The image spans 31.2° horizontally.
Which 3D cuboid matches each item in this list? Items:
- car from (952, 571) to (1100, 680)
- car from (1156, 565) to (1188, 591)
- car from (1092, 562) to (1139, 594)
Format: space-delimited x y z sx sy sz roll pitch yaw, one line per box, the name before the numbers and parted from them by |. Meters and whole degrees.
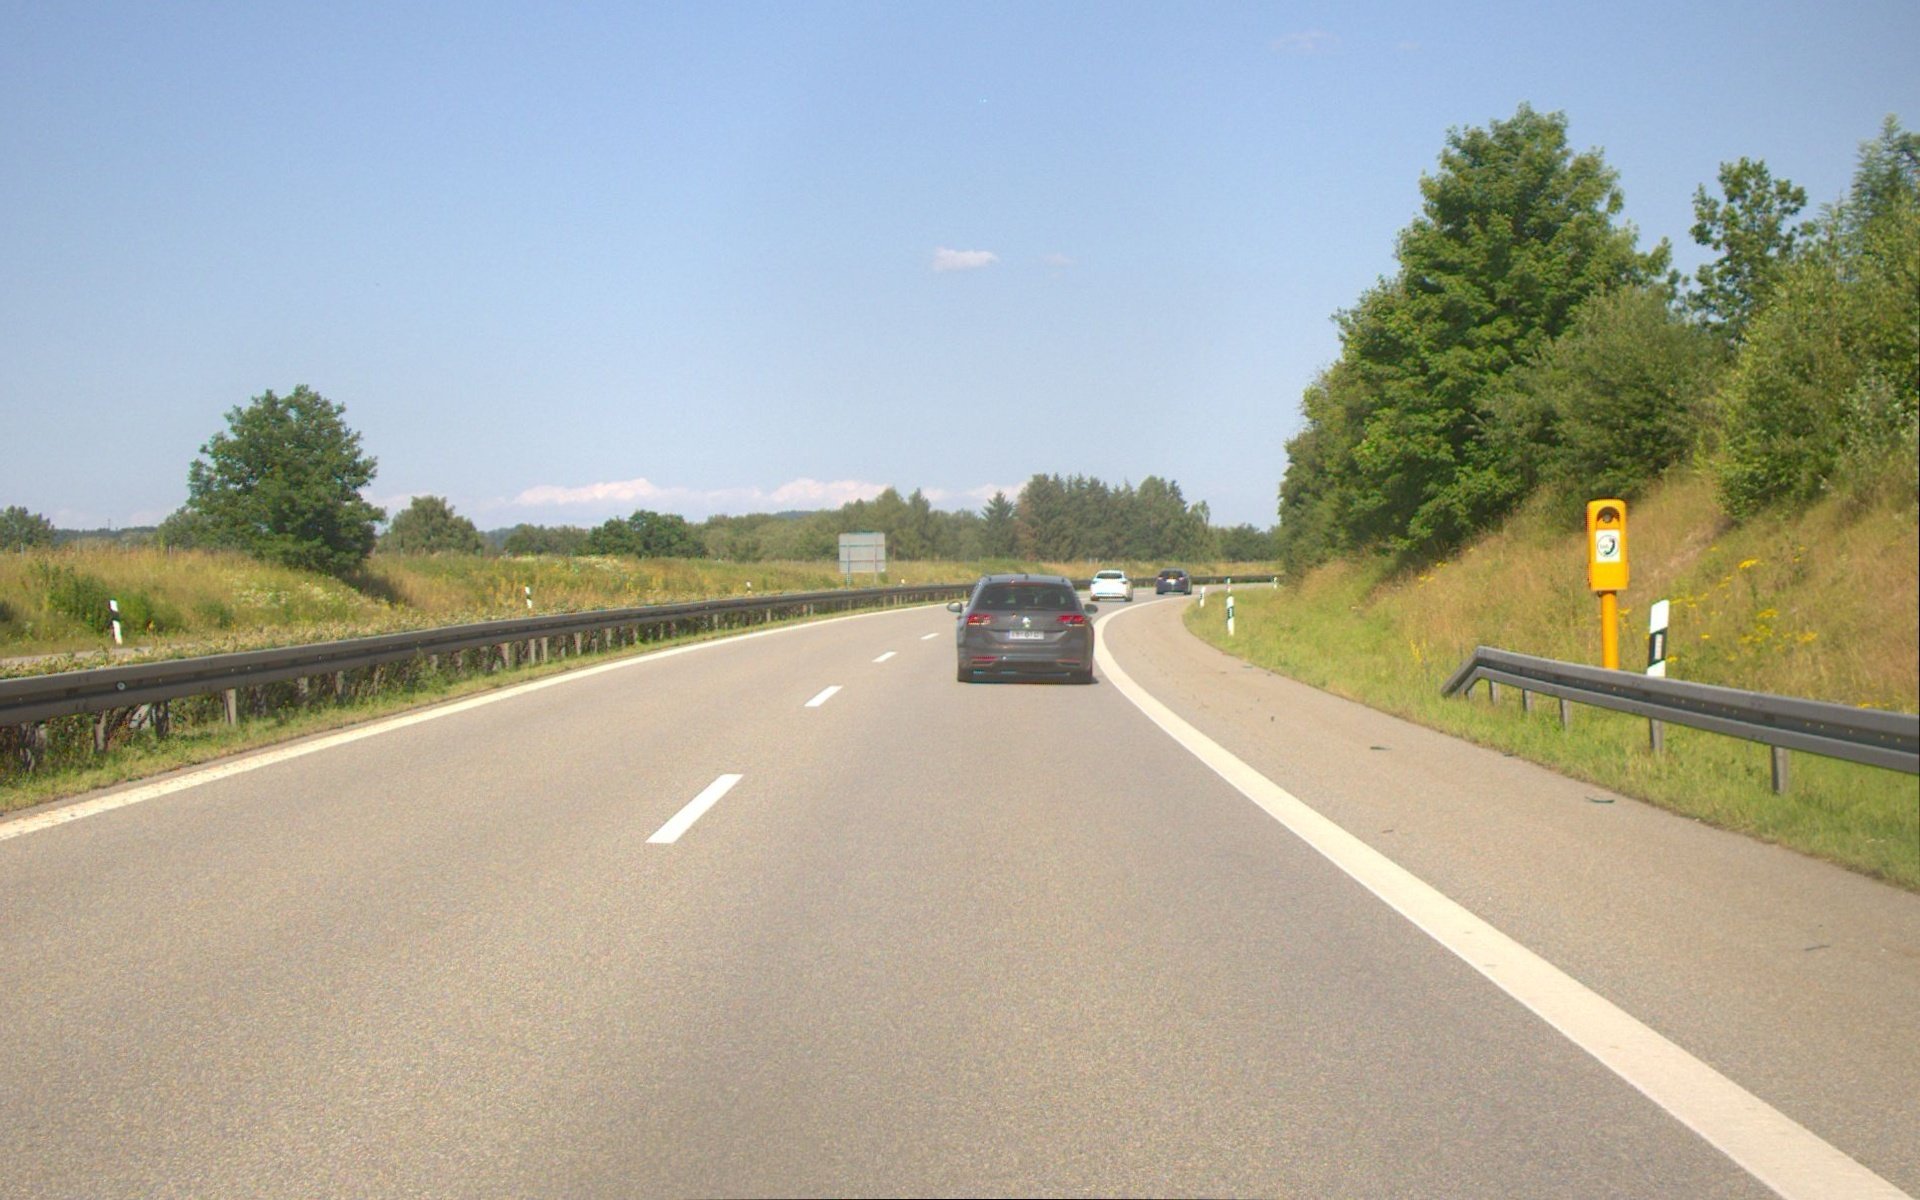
car | 0.834 0.308 45.679 1.791 1.340 4.000 0 1 -1
car | 12.222 -1.257 198.109 1.711 1.382 3.354 2 0 5
car | 7.121 -0.999 157.266 2.007 1.340 3.999 2 0 5
